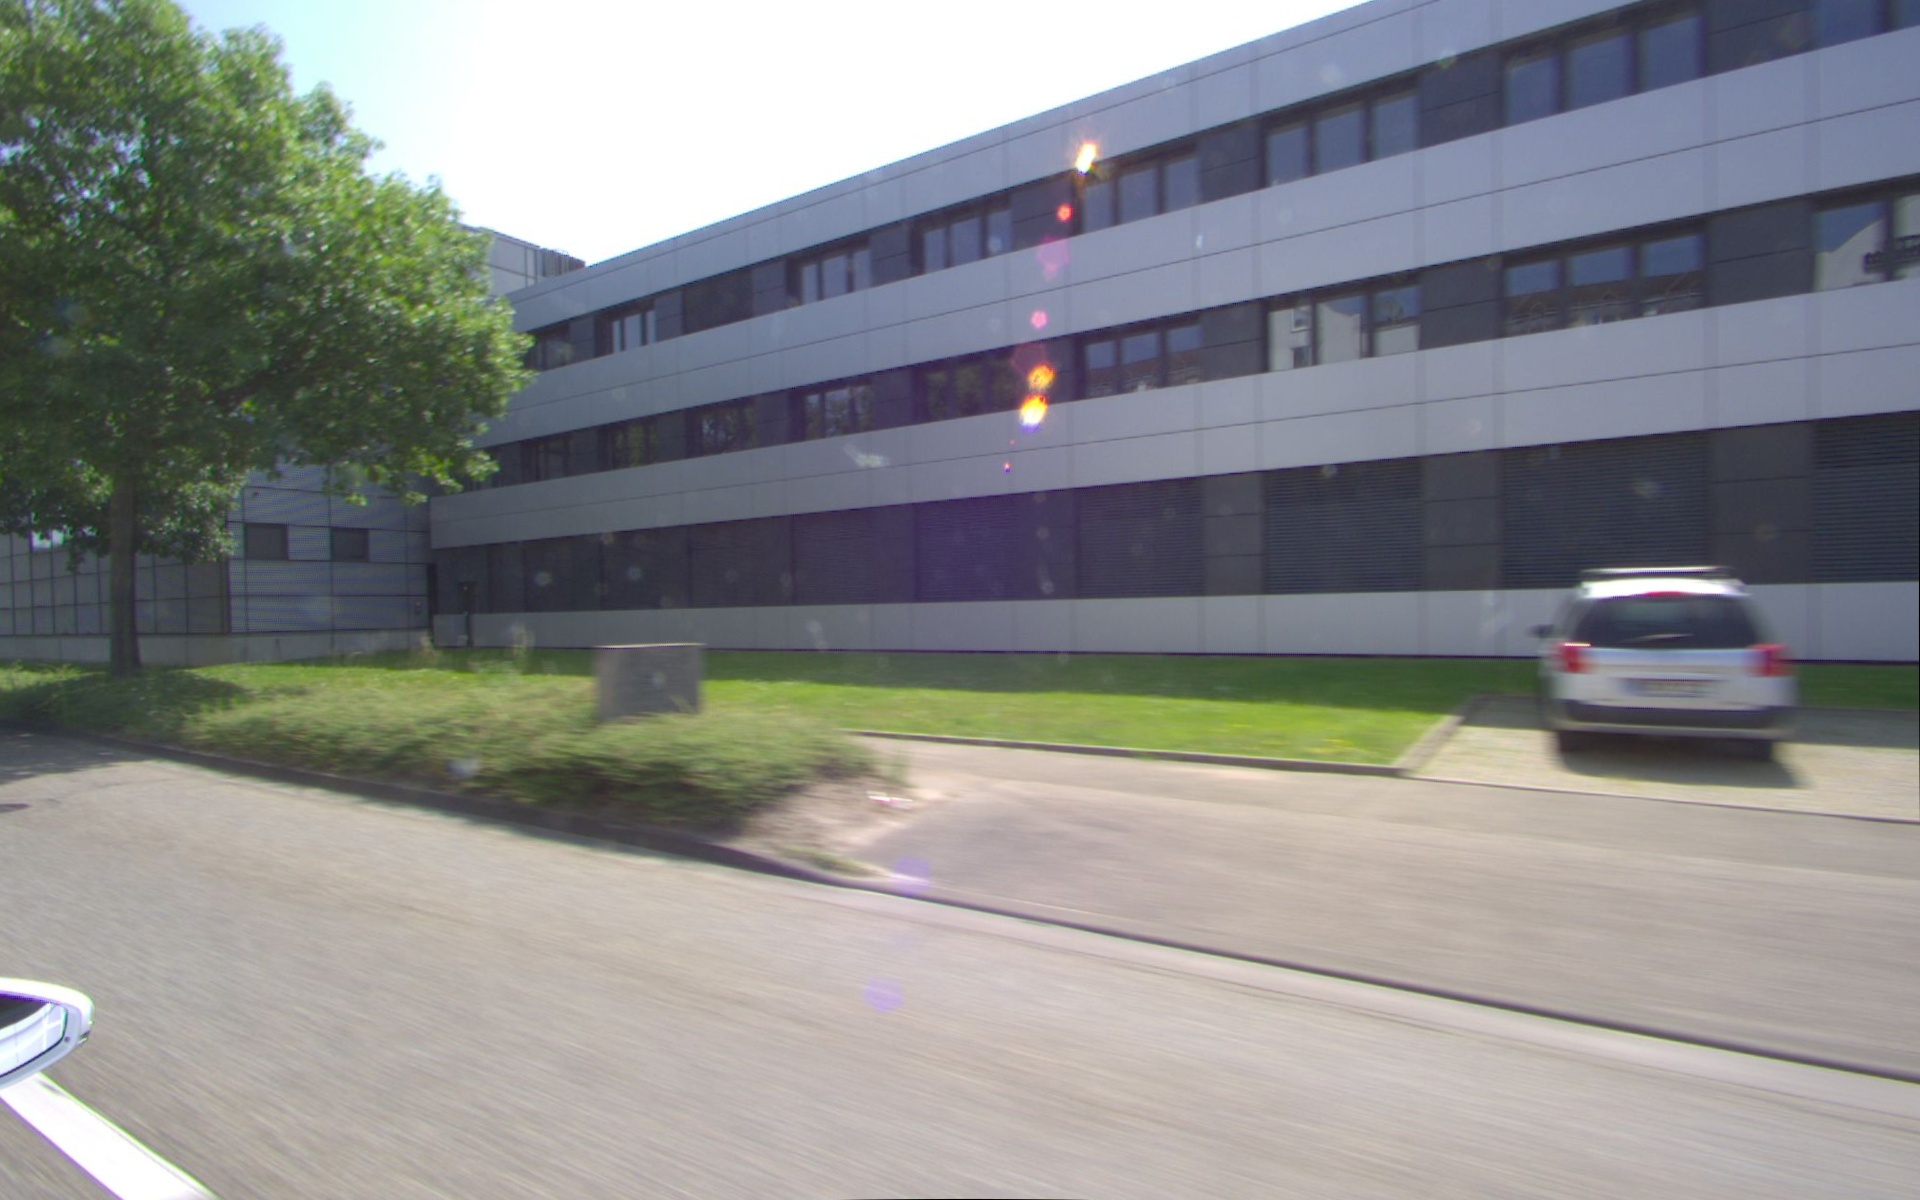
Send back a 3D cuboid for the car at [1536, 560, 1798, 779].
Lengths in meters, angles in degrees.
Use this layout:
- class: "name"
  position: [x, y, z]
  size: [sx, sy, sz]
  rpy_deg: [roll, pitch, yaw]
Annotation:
- class: "car"
  position: [6.556, 0.481, 9.664]
  size: [1.707, 1.614, 3.804]
  rpy_deg: [-1, 2, 30]
